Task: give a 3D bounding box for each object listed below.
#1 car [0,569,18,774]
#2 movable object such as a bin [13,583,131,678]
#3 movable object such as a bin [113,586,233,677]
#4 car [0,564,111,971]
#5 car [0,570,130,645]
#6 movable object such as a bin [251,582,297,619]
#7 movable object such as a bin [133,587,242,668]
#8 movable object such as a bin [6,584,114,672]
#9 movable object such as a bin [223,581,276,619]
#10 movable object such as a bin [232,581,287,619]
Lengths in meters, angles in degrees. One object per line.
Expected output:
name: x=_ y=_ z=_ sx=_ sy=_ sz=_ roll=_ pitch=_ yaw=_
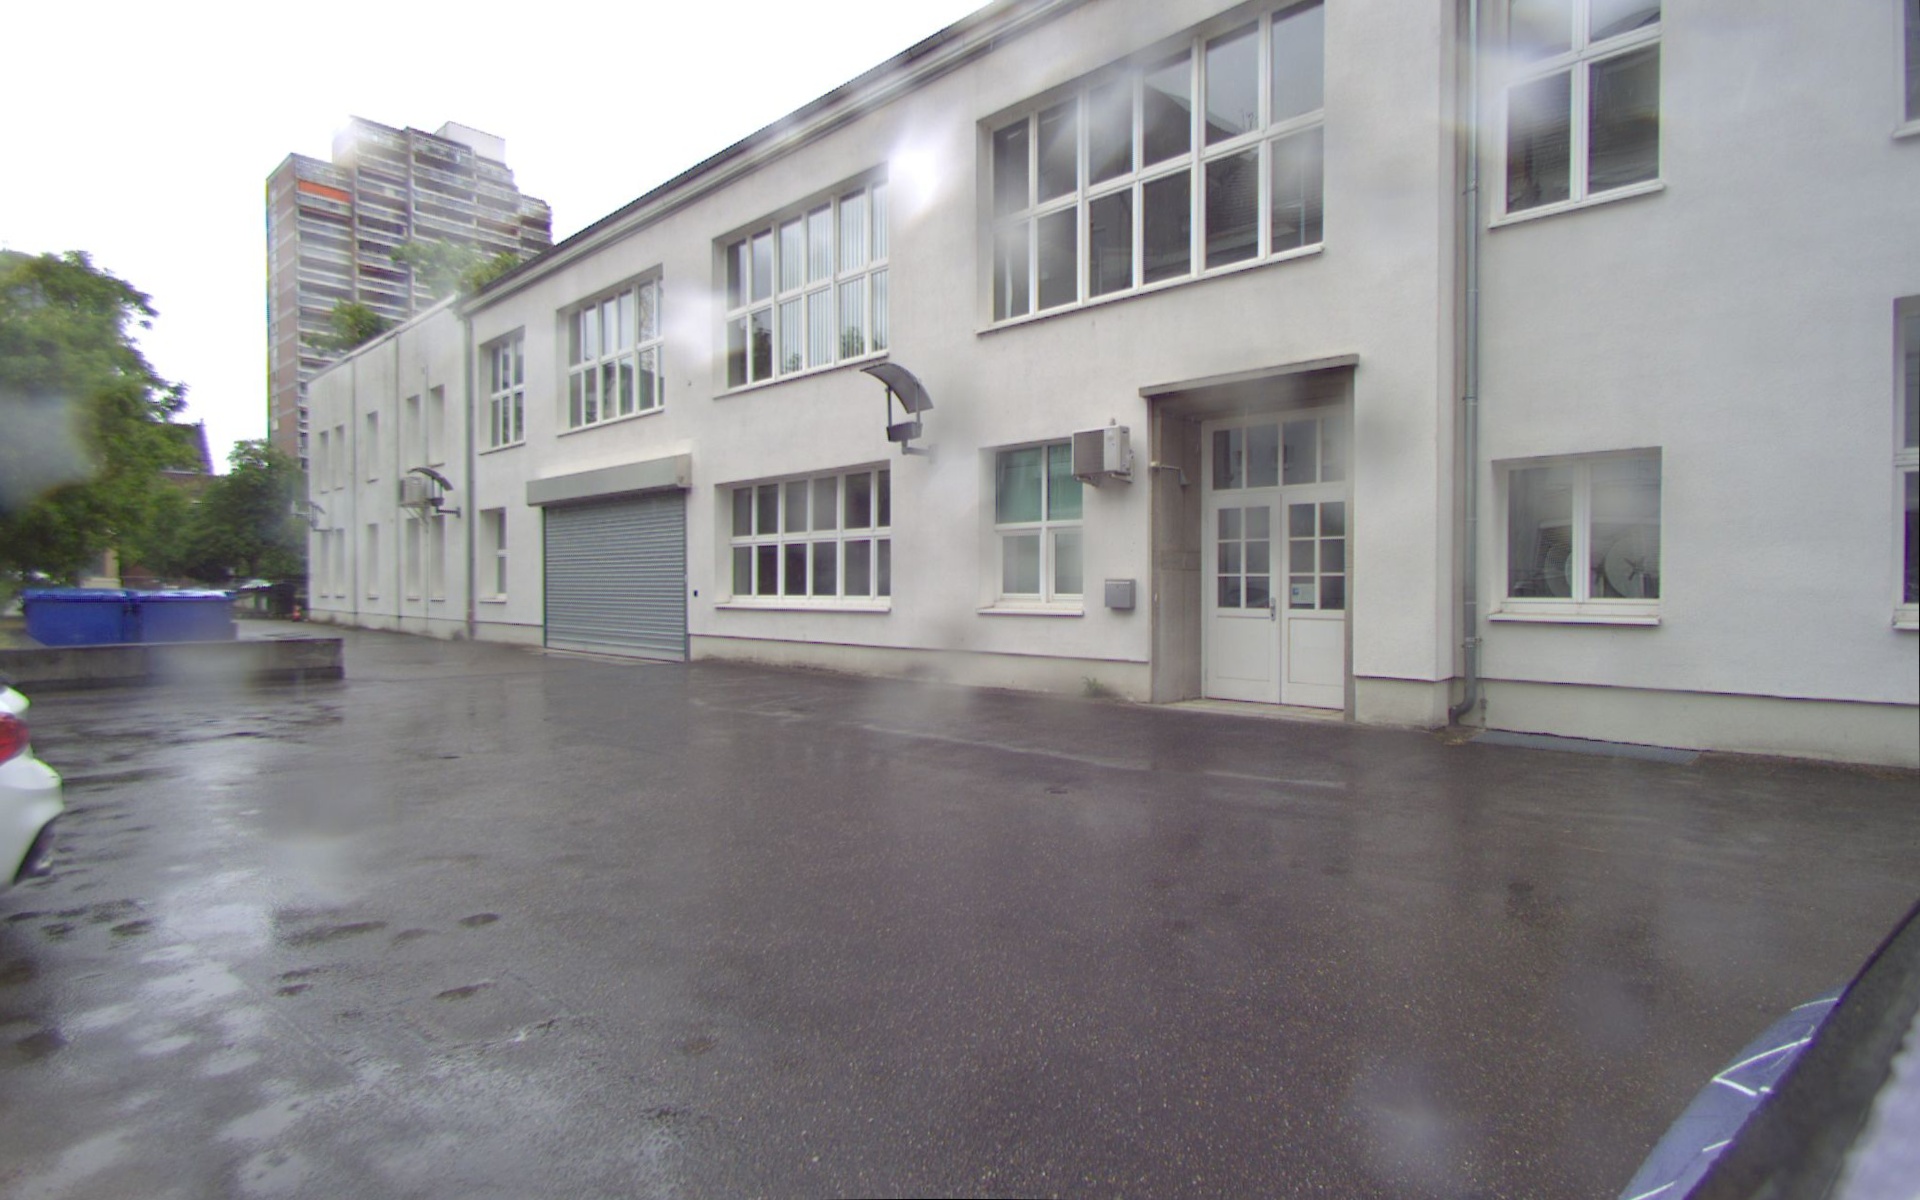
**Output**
car: x=-9.097 y=0.567 z=6.575 sx=1.991 sy=1.508 sz=4.161 roll=0 pitch=1 yaw=40
movable object such as a bin: x=-14.047 y=0.461 z=15.986 sx=1.964 sy=1.375 sz=1.214 roll=-2 pitch=0 yaw=44
movable object such as a bin: x=-13.156 y=0.506 z=16.911 sx=1.898 sy=1.375 sz=1.293 roll=-2 pitch=0 yaw=44
car: x=-5.445 y=0.656 z=3.052 sx=1.991 sy=1.508 sz=4.161 roll=0 pitch=1 yaw=40
car: x=-25.928 y=0.245 z=27.837 sx=4.622 sy=1.905 sz=2.117 roll=-3 pitch=0 yaw=-44
movable object such as a bin: x=-27.056 y=0.032 z=39.916 sx=1.307 sy=1.391 sz=1.172 roll=-2 pitch=0 yaw=39
movable object such as a bin: x=-14.211 y=0.490 z=18.602 sx=1.898 sy=1.375 sz=1.293 roll=-2 pitch=0 yaw=44
movable object such as a bin: x=-15.472 y=0.462 z=17.380 sx=1.964 sy=1.375 sz=1.214 roll=-2 pitch=0 yaw=44
movable object such as a bin: x=-29.331 y=0.007 z=41.775 sx=1.307 sy=1.466 sz=1.472 roll=-2 pitch=0 yaw=39
movable object such as a bin: x=-28.308 y=0.004 z=40.905 sx=1.307 sy=1.466 sz=1.472 roll=-2 pitch=0 yaw=39
